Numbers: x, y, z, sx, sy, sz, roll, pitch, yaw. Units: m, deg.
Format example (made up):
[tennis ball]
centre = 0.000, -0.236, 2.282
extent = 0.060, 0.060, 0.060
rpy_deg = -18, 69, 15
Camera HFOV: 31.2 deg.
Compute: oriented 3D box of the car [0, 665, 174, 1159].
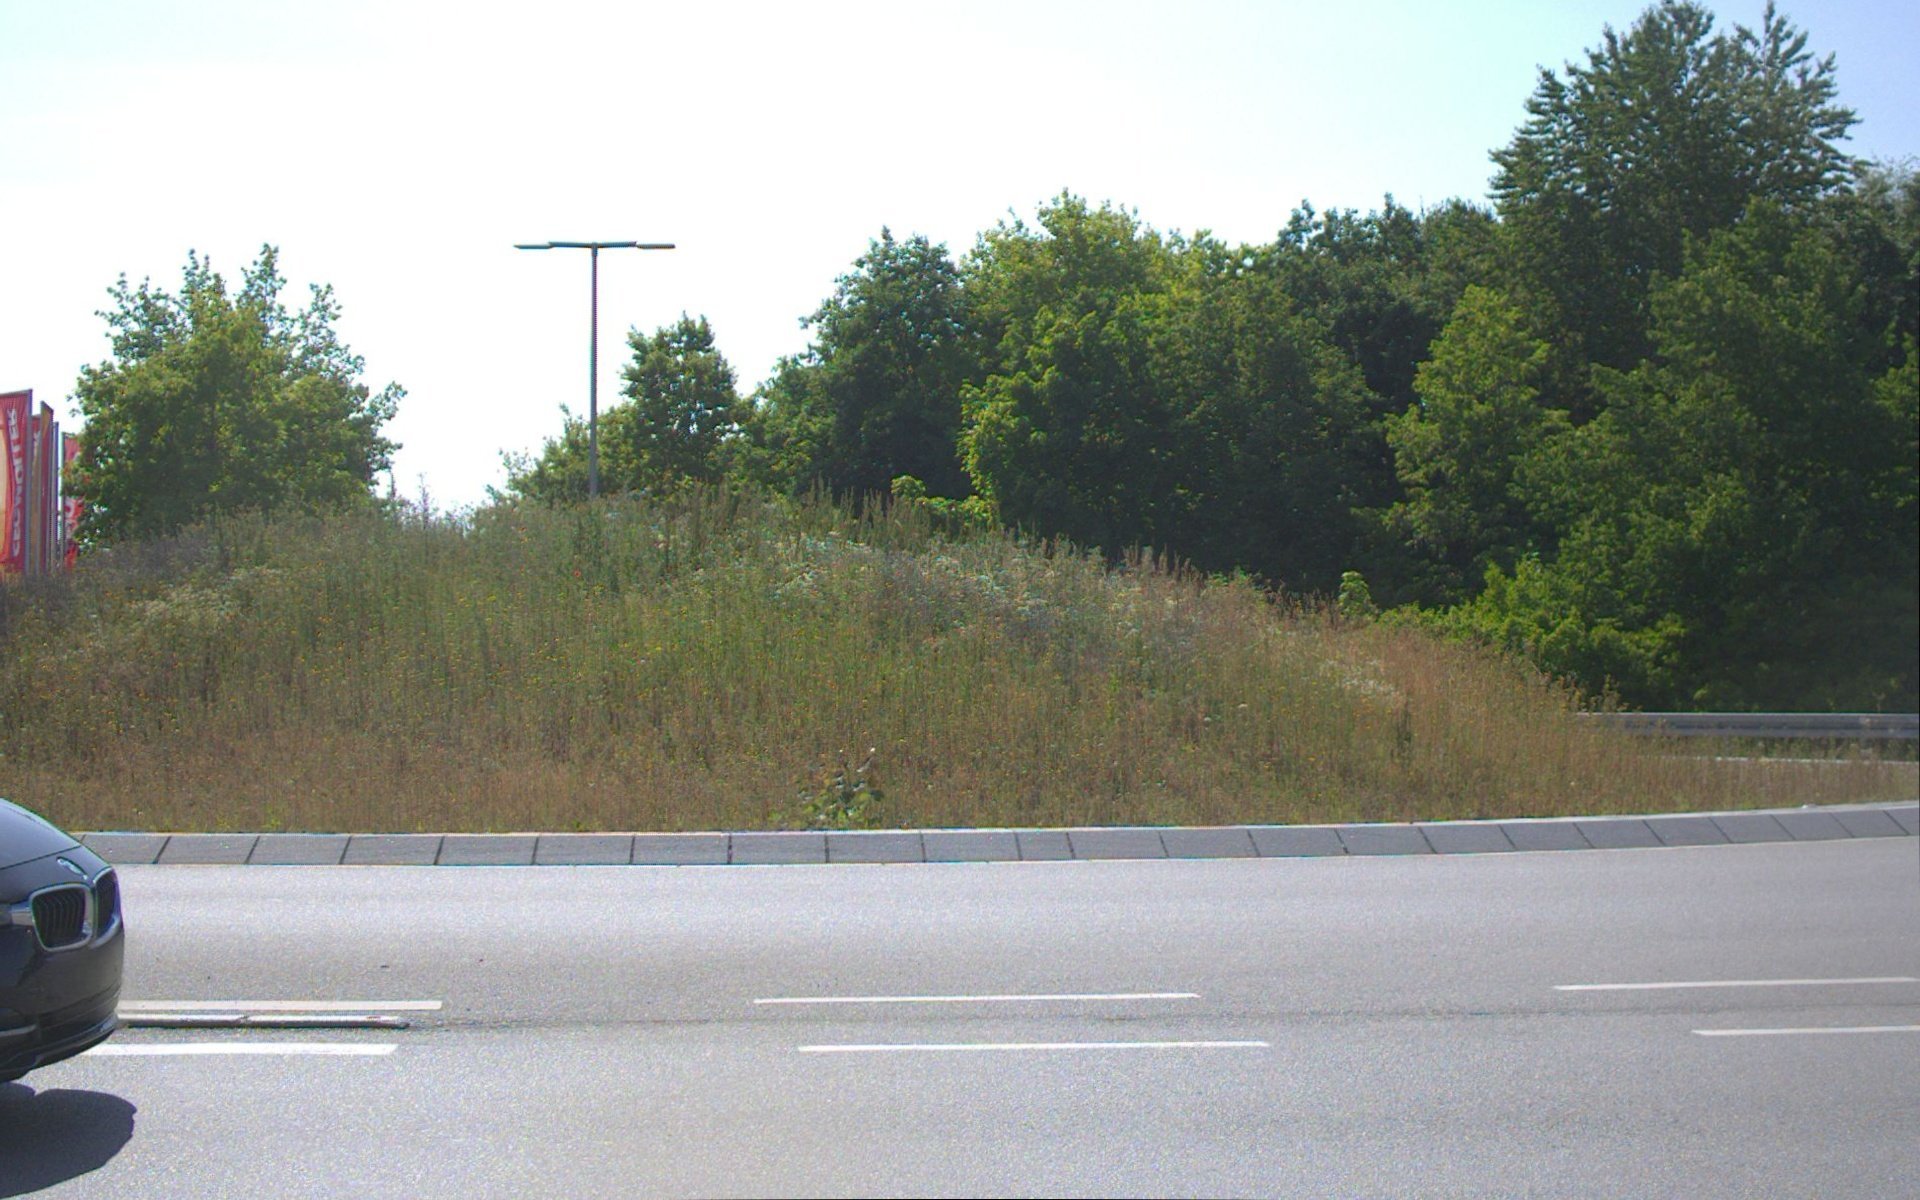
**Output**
[car]
centre = -4.226, 0.745, 9.070
extent = 3.853, 1.178, 1.676
rpy_deg = 1, 0, 5
